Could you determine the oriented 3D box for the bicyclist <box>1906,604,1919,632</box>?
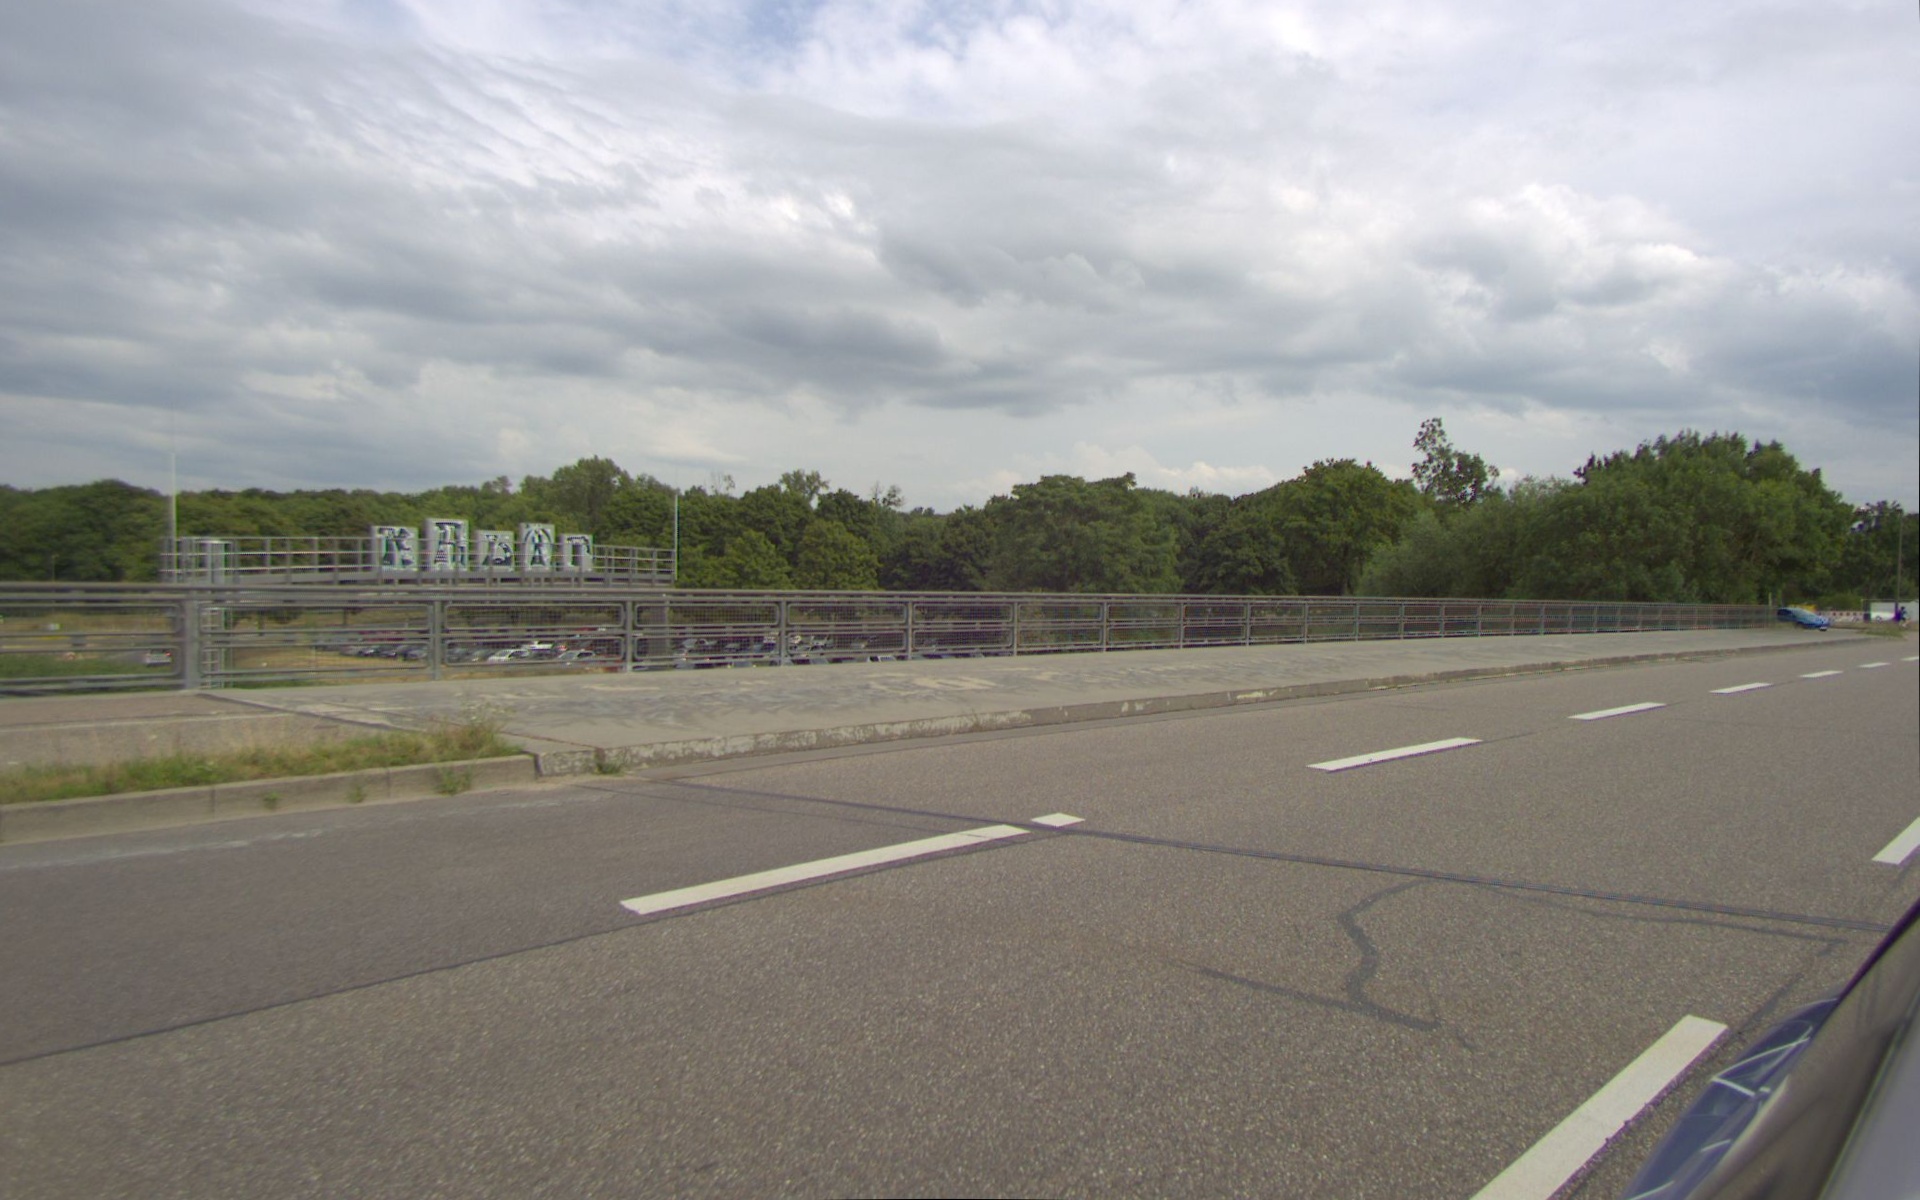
[{"bbox_3d":[56.620,1.073,59.999,0.791,1.680,0.666,2,-1,-40],"label":"bicyclist"}]

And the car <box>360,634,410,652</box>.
[{"bbox_3d":[-57.721,4.284,101.591,1.983,1.594,3.958,0,0,30],"label":"car"}]

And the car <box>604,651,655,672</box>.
[{"bbox_3d":[-28.779,5.330,88.176,1.983,1.594,3.958,0,0,30],"label":"car"}]

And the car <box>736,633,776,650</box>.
[{"bbox_3d":[-21.253,4.335,105.433,1.982,1.594,3.959,0,0,29],"label":"car"}]

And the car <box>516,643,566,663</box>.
[{"bbox_3d":[-38.499,4.840,93.074,1.983,1.594,3.958,0,0,30],"label":"car"}]

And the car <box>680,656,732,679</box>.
[{"bbox_3d":[-20.952,5.576,83.702,1.983,1.594,3.958,0,0,30],"label":"car"}]

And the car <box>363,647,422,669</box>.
[{"bbox_3d":[-47.899,4.839,85.486,1.983,1.594,3.958,0,0,30],"label":"car"}]

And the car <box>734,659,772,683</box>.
[{"bbox_3d":[-15.980,5.443,77.999,1.959,1.594,4.006,1,0,-26],"label":"car"}]

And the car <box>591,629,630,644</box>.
[{"bbox_3d":[-39.667,4.128,114.977,1.982,1.594,3.959,0,0,29],"label":"car"}]

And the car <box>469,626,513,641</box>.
[{"bbox_3d":[-51.638,3.668,111.452,1.983,1.594,3.958,0,0,30],"label":"car"}]

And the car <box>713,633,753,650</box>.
[{"bbox_3d":[-23.792,4.305,106.305,1.982,1.594,3.959,0,0,29],"label":"car"}]

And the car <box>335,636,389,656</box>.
[{"bbox_3d":[-56.168,4.306,95.140,1.983,1.594,3.958,0,0,30],"label":"car"}]

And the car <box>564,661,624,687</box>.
[{"bbox_3d":[-27.711,5.592,76.794,1.983,1.594,3.958,0,0,30],"label":"car"}]

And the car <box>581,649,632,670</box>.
[{"bbox_3d":[-31.287,5.278,89.540,1.983,1.594,3.958,0,0,30],"label":"car"}]

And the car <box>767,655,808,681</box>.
[{"bbox_3d":[-12.717,4.975,74.460,1.959,1.594,4.006,1,0,-26],"label":"car"}]

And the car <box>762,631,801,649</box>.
[{"bbox_3d":[-18.473,4.115,104.669,1.982,1.594,3.959,0,0,29],"label":"car"}]

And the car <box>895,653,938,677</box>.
[{"bbox_3d":[-3.434,5.085,79.837,1.959,1.594,4.006,1,0,-26],"label":"car"}]

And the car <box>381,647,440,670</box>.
[{"bbox_3d":[-45.855,4.861,84.500,1.983,1.594,3.958,0,0,30],"label":"car"}]

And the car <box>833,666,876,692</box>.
[{"bbox_3d":[-8.029,5.961,76.742,1.959,1.594,4.006,1,0,-26],"label":"car"}]

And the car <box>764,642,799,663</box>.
[{"bbox_3d":[-15.951,4.667,90.504,1.966,1.594,3.992,0,0,7],"label":"car"}]

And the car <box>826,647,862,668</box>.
[{"bbox_3d":[-10.133,4.989,88.191,1.959,1.594,4.006,1,0,-26],"label":"car"}]

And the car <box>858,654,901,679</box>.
[{"bbox_3d":[-6.192,5.060,77.754,1.959,1.594,4.006,1,0,-26],"label":"car"}]

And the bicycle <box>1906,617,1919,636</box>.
[{"bbox_3d":[56.672,1.576,60.009,1.940,1.034,0.578,2,3,-40],"label":"bicycle"}]

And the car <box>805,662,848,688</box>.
[{"bbox_3d":[-10.007,5.571,75.601,1.959,1.594,4.006,1,0,-26],"label":"car"}]

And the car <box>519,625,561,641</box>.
[{"bbox_3d":[-46.982,3.703,113.295,1.983,1.594,3.958,0,0,30],"label":"car"}]

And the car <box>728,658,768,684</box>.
[{"bbox_3d":[-15.440,5.126,73.547,1.959,1.594,4.006,1,0,-26],"label":"car"}]

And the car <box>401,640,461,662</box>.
[{"bbox_3d":[-43.664,4.149,83.553,1.983,1.594,3.958,0,0,30],"label":"car"}]

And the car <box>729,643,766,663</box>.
[{"bbox_3d":[-18.663,4.648,89.056,1.966,1.594,3.992,0,0,7],"label":"car"}]

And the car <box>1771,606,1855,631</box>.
[{"bbox_3d":[56.892,1.204,67.558,1.840,1.537,4.007,1,0,-12],"label":"car"}]

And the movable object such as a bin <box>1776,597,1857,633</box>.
[{"bbox_3d":[68.038,1.179,80.453,2.061,2.723,4.517,1,0,-34],"label":"movable object such as a bin"}]

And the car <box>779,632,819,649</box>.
[{"bbox_3d":[-16.450,4.138,103.508,1.982,1.594,3.959,0,0,29],"label":"car"}]

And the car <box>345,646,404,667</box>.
[{"bbox_3d":[-50.072,4.814,86.655,1.983,1.594,3.958,0,0,30],"label":"car"}]

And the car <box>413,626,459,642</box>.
[{"bbox_3d":[-55.997,3.640,108.260,1.983,1.594,3.958,0,0,30],"label":"car"}]

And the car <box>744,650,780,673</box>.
[{"bbox_3d":[-16.390,5.053,83.571,1.959,1.594,4.006,1,0,-26],"label":"car"}]

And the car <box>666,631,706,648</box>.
[{"bbox_3d":[-29.532,4.245,109.294,1.982,1.594,3.959,0,0,29],"label":"car"}]

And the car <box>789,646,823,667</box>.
[{"bbox_3d":[-13.633,5.025,89.840,1.966,1.594,3.992,0,0,7],"label":"car"}]

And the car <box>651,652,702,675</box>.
[{"bbox_3d":[-23.932,5.340,85.595,1.983,1.594,3.958,0,0,30],"label":"car"}]
